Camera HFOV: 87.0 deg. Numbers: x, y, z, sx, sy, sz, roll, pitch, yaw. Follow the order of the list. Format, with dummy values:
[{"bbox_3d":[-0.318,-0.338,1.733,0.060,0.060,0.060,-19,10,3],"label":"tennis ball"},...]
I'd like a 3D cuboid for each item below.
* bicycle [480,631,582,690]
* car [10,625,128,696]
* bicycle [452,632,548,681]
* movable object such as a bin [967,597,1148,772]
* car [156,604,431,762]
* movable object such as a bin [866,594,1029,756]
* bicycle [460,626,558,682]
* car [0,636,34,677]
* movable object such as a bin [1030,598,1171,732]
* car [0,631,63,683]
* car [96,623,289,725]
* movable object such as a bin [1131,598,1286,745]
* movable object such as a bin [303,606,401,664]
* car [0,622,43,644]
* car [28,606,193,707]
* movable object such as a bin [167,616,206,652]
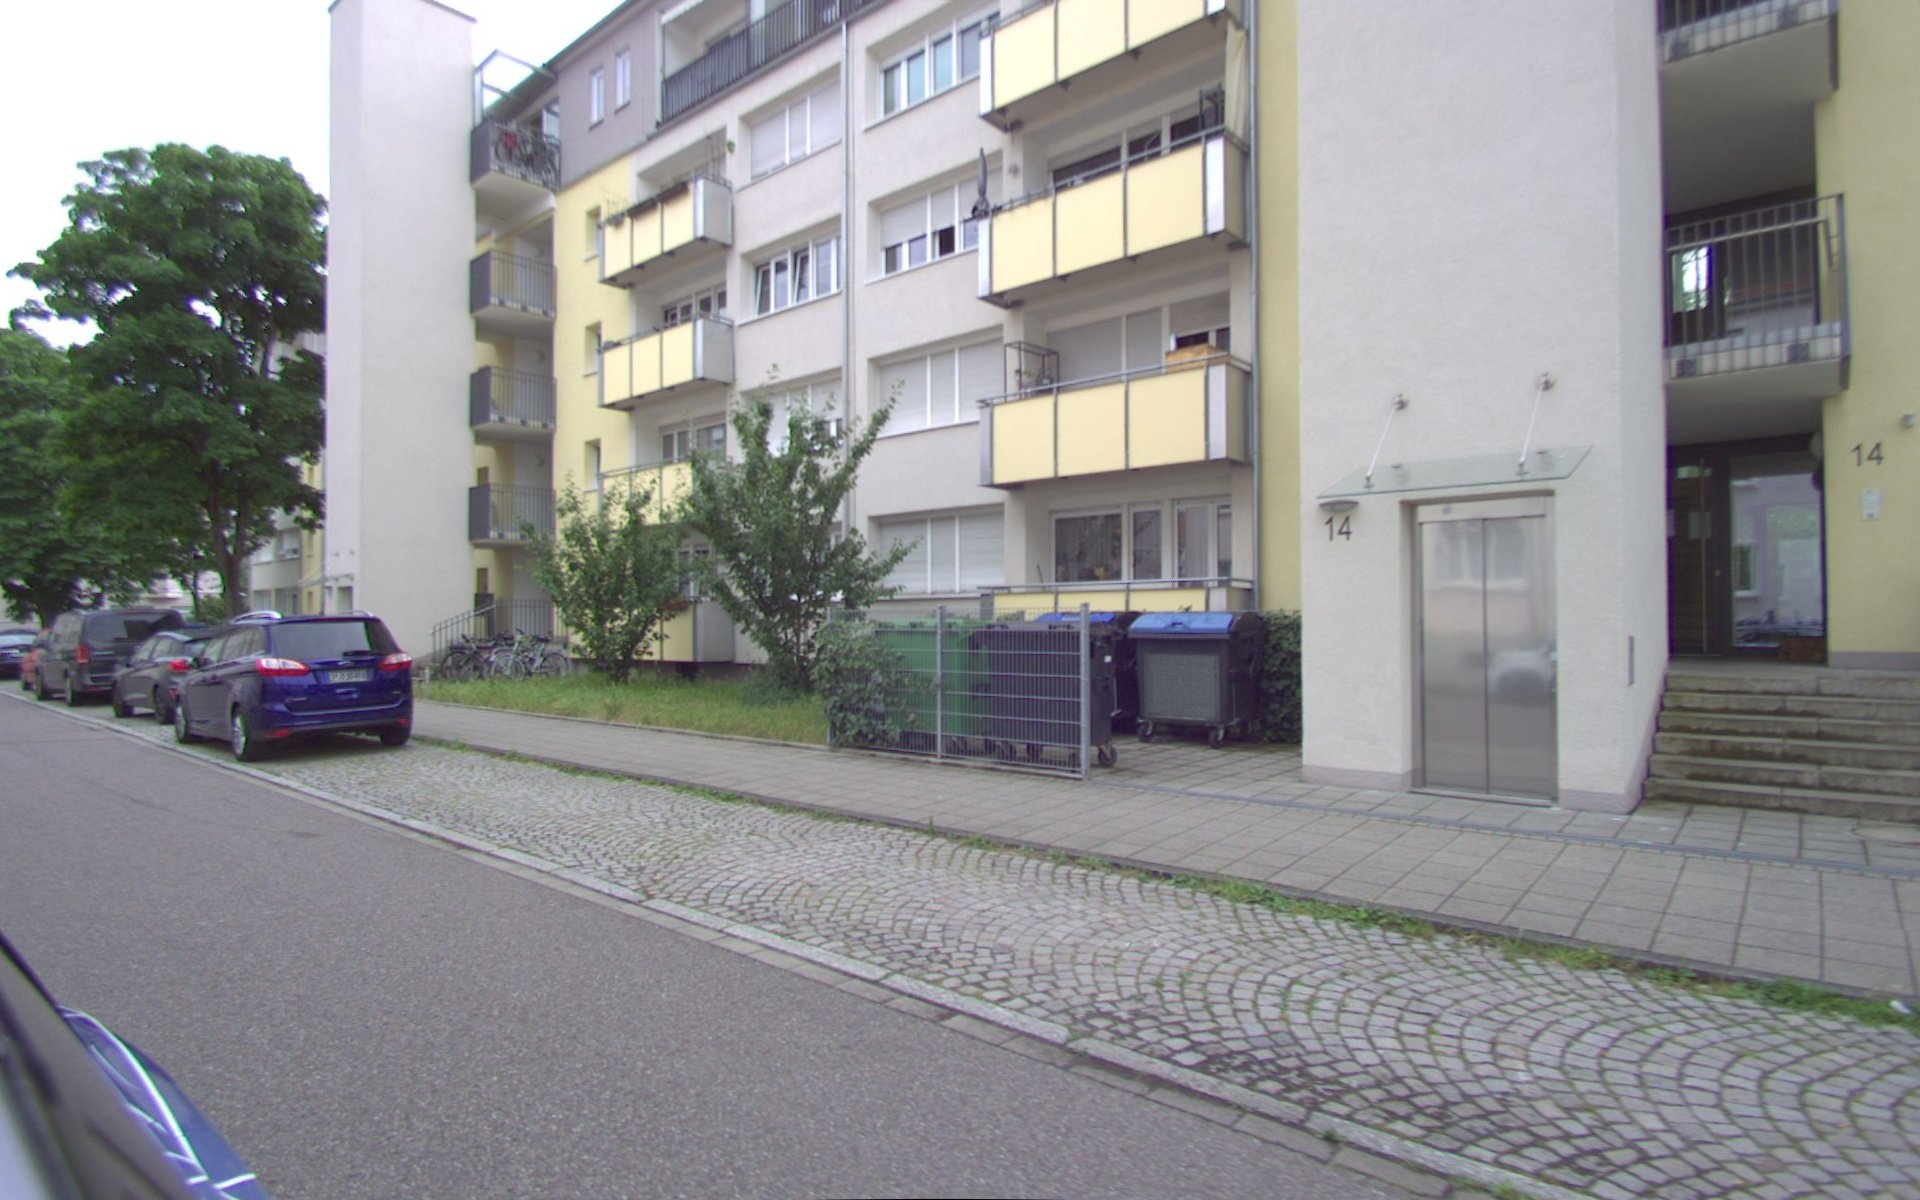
[{"bbox_3d":[-8.793,1.212,20.796,0.715,1.146,1.834,-2,-2,38],"label":"bicycle"},{"bbox_3d":[-21.737,1.416,24.665,3.610,1.580,1.605,-1,-2,40],"label":"car"},{"bbox_3d":[-10.258,1.244,22.605,1.830,1.028,0.671,1,-2,-42],"label":"bicycle"},{"bbox_3d":[0.891,0.720,9.338,1.314,1.458,0.991,-1,0,41],"label":"movable object such as a bin"},{"bbox_3d":[-8.629,0.930,12.936,4.469,1.639,1.781,-2,0,41],"label":"car"},{"bbox_3d":[-0.133,0.707,10.294,1.314,1.512,0.991,-1,0,41],"label":"movable object such as a bin"},{"bbox_3d":[-9.808,1.154,22.054,1.830,1.146,0.717,1,-2,-42],"label":"bicycle"},{"bbox_3d":[-33.204,1.933,34.658,4.208,1.274,1.743,-1,1,41],"label":"car"},{"bbox_3d":[1.655,0.726,11.978,1.314,1.458,0.991,-1,0,41],"label":"movable object such as a bin"},{"bbox_3d":[-29.236,1.714,31.052,4.430,1.450,1.895,-1,1,40],"label":"car"},{"bbox_3d":[-12.838,1.155,16.853,3.813,1.456,1.606,-2,0,38],"label":"car"},{"bbox_3d":[2.691,0.728,10.996,1.314,1.458,0.991,-1,0,41],"label":"movable object such as a bin"},{"bbox_3d":[-16.948,0.953,28.185,2.539,1.535,1.597,-1,-2,40],"label":"movable object such as a bin"},{"bbox_3d":[-58.887,2.051,62.772,1.353,1.294,2.890,-1,0,44],"label":"car"},{"bbox_3d":[-17.807,1.100,21.132,4.782,1.869,1.867,-2,-1,40],"label":"car"},{"bbox_3d":[-32.513,1.429,42.541,0.889,1.487,1.168,-2,-2,44],"label":"movable object such as a bin"}]
